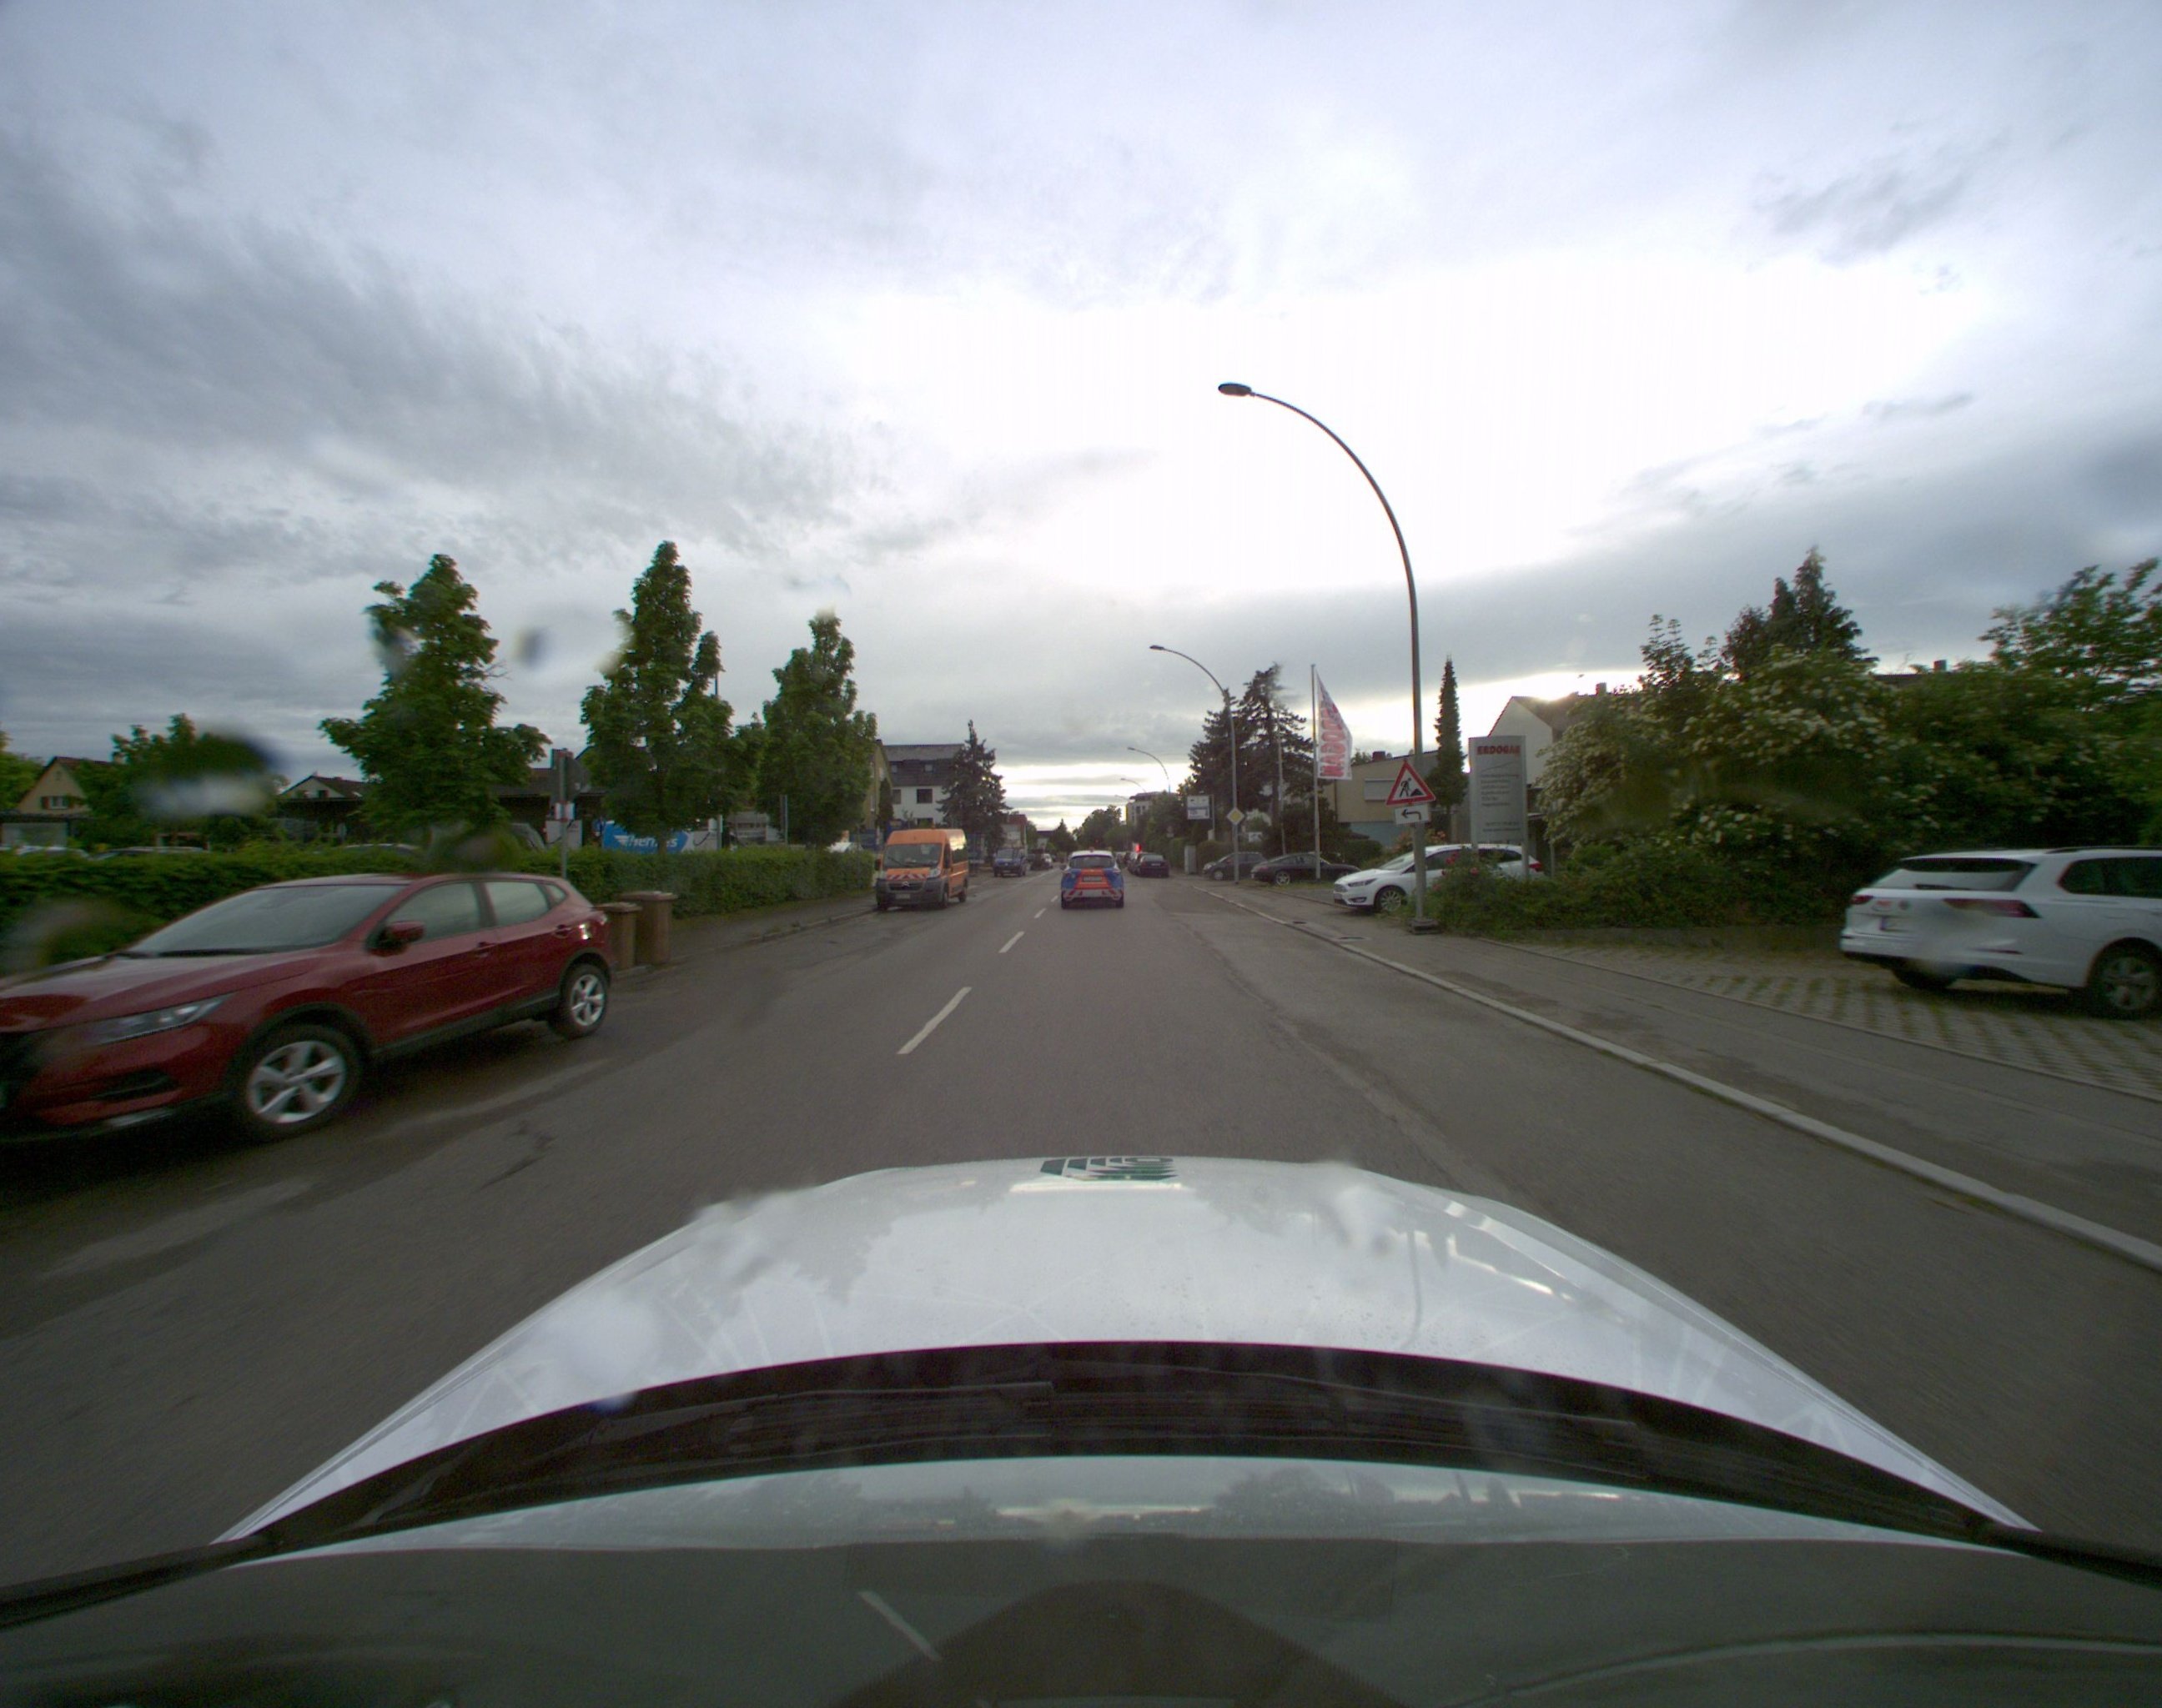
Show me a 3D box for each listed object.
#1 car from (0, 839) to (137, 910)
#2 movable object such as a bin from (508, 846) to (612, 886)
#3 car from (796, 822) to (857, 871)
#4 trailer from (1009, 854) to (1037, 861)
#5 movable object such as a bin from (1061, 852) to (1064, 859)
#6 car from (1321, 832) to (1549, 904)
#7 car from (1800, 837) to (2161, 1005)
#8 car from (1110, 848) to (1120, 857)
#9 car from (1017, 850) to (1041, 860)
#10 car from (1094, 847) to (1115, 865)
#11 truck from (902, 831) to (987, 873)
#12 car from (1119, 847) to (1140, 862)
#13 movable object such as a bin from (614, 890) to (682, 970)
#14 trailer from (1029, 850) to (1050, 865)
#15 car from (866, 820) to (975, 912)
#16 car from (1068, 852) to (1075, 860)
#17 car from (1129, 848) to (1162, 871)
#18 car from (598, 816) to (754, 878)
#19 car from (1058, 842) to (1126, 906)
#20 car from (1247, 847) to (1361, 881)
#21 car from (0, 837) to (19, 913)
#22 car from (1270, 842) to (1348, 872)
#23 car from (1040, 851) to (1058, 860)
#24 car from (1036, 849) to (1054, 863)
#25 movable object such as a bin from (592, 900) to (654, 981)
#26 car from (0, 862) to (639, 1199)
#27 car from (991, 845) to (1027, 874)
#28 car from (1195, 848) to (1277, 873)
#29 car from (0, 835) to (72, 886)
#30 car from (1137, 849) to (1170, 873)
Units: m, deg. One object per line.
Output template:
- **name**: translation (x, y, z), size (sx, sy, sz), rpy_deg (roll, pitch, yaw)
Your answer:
- **car**: translation (-24.227, 0.455, 18.289), size (3.881, 1.520, 1.692), rpy_deg (0, 0, -4)
- **movable object such as a bin**: translation (-23.627, 0.516, 37.046), size (3.417, 1.759, 1.996), rpy_deg (0, 0, -6)
- **car**: translation (-16.285, -0.460, 52.432), size (2.068, 3.013, 5.245), rpy_deg (0, 0, 2)
- **trailer**: translation (-8.766, 0.492, 123.492), size (4.010, 0.995, 1.655), rpy_deg (0, 0, -1)
- **movable object such as a bin**: translation (-3.324, 0.242, 146.797), size (0.577, 1.204, 0.319), rpy_deg (-1, 0, 1)
- **car**: translation (7.843, 0.298, 18.333), size (4.324, 1.475, 1.903), rpy_deg (-1, 0, 0)
- **car**: translation (9.878, 0.555, 7.772), size (4.401, 1.393, 1.880), rpy_deg (0, 0, 0)
- **car**: translation (6.341, -0.301, 150.944), size (1.645, 1.671, 3.999), rpy_deg (0, 0, 0)
- **car**: translation (-8.032, 0.208, 125.953), size (3.572, 1.526, 1.653), rpy_deg (0, 0, -3)
- **car**: translation (2.026, 0.205, 70.418), size (1.645, 1.521, 3.999), rpy_deg (0, 0, 0)
- **truck**: translation (-10.155, -0.157, 61.062), size (5.889, 3.073, 2.450), rpy_deg (0, 0, 1)
- **car**: translation (4.764, 0.015, 80.731), size (1.706, 1.438, 4.524), rpy_deg (0, 0, -1)
- **movable object such as a bin**: translation (-6.546, 1.131, 12.320), size (0.669, 1.157, 0.622), rpy_deg (0, 0, 5)
- **trailer**: translation (-3.850, 0.310, 75.743), size (1.712, 1.260, 5.243), rpy_deg (0, 2, -1)
- **car**: translation (-5.017, 0.327, 26.512), size (2.117, 2.537, 6.023), rpy_deg (-3, 0, 1)
- **car**: translation (-1.912, 0.369, 161.780), size (1.382, 1.483, 3.783), rpy_deg (-2, 0, 0)
- **car**: translation (4.170, 0.373, 53.303), size (1.652, 1.419, 4.775), rpy_deg (0, 0, -1)
- **car**: translation (-13.722, -0.234, 27.787), size (4.290, 2.014, 2.063), rpy_deg (0, 0, 1)
- **car**: translation (0.308, 0.523, 23.199), size (1.726, 1.630, 3.494), rpy_deg (-1, 0, 0)
- **car**: translation (8.555, 0.374, 31.525), size (3.970, 1.266, 1.952), rpy_deg (0, 0, 3)
- **car**: translation (-23.829, 0.433, 15.676), size (4.046, 1.551, 1.883), rpy_deg (0, 0, -4)
- **car**: translation (12.100, 0.149, 43.372), size (3.603, 1.538, 1.859), rpy_deg (0, 0, -1)
- **car**: translation (-6.033, 0.240, 152.797), size (3.274, 1.448, 1.478), rpy_deg (-3, 0, -3)
- **car**: translation (-3.689, 0.222, 83.155), size (1.551, 1.433, 4.001), rpy_deg (0, 0, 1)
- **movable object such as a bin**: translation (-6.510, 1.215, 11.594), size (0.488, 1.082, 0.622), rpy_deg (0, 0, 5)
- **car**: translation (-5.534, 0.927, 6.252), size (1.799, 1.573, 4.343), rpy_deg (-2, 1, 1)
- **car**: translation (-5.035, 0.382, 57.720), size (1.987, 1.947, 5.365), rpy_deg (-2, 0, 1)
- **car**: translation (8.169, 0.350, 43.210), size (3.975, 1.266, 1.950), rpy_deg (0, 0, -1)
- **car**: translation (-49.679, 0.289, 36.854), size (5.216, 2.240, 1.972), rpy_deg (0, 0, -5)
- **car**: translation (4.303, 0.373, 48.650), size (1.584, 1.341, 4.092), rpy_deg (1, 0, 0)
